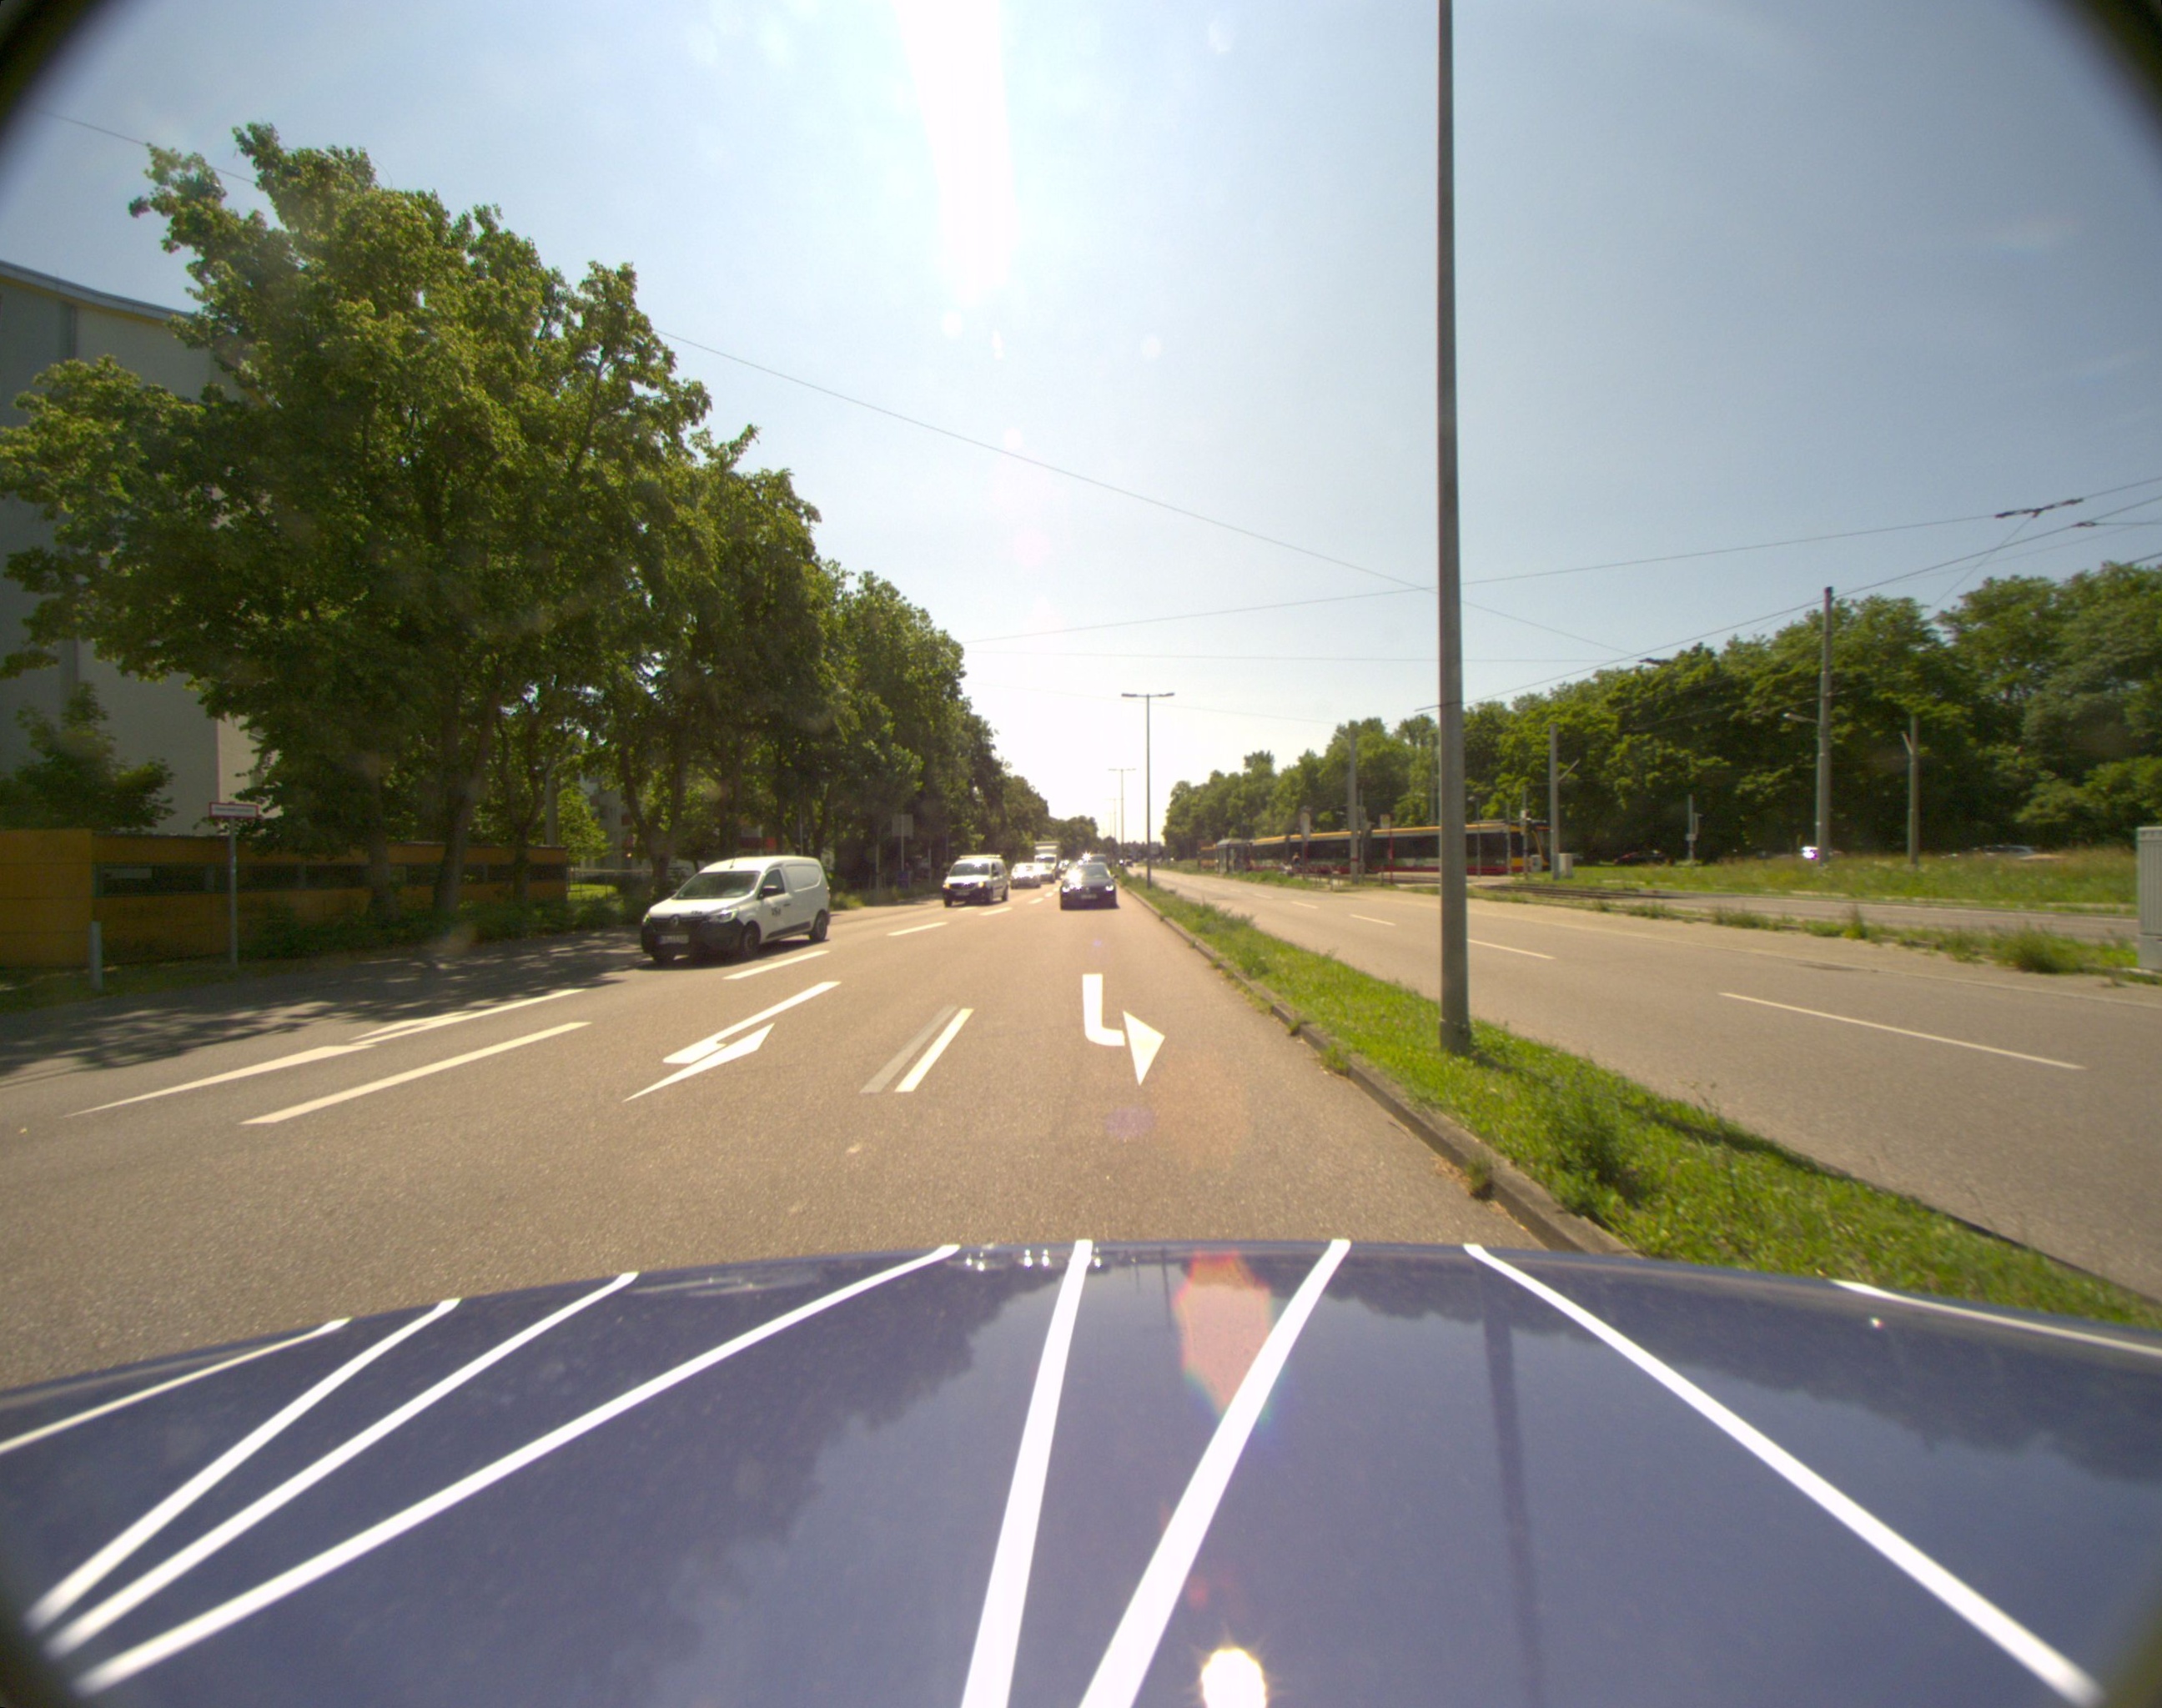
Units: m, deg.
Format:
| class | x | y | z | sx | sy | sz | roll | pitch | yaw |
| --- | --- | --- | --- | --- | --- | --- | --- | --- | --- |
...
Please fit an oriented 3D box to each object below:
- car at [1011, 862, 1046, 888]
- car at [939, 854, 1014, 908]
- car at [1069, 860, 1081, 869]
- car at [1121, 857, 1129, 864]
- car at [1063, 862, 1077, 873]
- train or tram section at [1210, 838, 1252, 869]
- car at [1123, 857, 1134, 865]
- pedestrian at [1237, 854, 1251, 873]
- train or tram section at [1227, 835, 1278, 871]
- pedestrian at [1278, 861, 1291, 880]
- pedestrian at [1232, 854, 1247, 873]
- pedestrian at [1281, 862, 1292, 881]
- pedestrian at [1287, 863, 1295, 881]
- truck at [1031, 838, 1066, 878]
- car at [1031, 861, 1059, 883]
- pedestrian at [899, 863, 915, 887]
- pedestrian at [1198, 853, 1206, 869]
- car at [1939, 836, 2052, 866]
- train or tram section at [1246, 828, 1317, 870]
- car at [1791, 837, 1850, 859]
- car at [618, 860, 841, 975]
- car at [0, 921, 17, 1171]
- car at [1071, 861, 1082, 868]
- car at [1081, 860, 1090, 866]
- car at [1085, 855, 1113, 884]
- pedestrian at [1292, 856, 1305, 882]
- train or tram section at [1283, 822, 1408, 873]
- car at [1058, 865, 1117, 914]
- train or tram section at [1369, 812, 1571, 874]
| class | x | y | z | sx | sy | sz | roll | pitch | yaw |
| --- | --- | --- | --- | --- | --- | --- | --- | --- | --- |
| car | -3.121 | 1.223 | 45.688 | 1.626 | 1.432 | 3.499 | -2 | 0 | 3 |
| car | -3.973 | 0.986 | 29.816 | 1.809 | 1.844 | 5.084 | -3 | 0 | 4 |
| car | -0.901 | 1.643 | 120.907 | 1.746 | 1.382 | 3.888 | -1 | 0 | 2 |
| car | 10.052 | 1.434 | 175.096 | 1.773 | 1.496 | 3.721 | -1 | 0 | 3 |
| car | -1.413 | 1.715 | 98.142 | 1.618 | 1.373 | 4.115 | -2 | 0 | 2 |
| train or tram section | 19.782 | 0.008 | 100.847 | 3.051 | 3.719 | 12.596 | -3 | 0 | 1 |
| car | 9.407 | 1.355 | 150.567 | 1.774 | 1.496 | 3.719 | -1 | 0 | -1 |
| pedestrian | 13.347 | 0.802 | 62.188 | 0.836 | 1.499 | 0.879 | -3 | 0 | -1 |
| train or tram section | 19.616 | -0.046 | 87.801 | 3.051 | 3.745 | 13.263 | -3 | 0 | 1 |
| pedestrian | 12.771 | 1.047 | 47.692 | 0.582 | 1.182 | 0.536 | -3 | 0 | -1 |
| pedestrian | 13.164 | 0.807 | 63.144 | 0.933 | 1.537 | 0.985 | -3 | 0 | -1 |
| pedestrian | 12.768 | 1.088 | 47.216 | 0.495 | 1.182 | 0.400 | -3 | 0 | -1 |
| pedestrian | 12.958 | 1.116 | 46.854 | 0.384 | 1.052 | 0.377 | -3 | 0 | -1 |
| truck | -2.847 | 0.351 | 68.072 | 2.489 | 3.276 | 6.606 | -1 | 0 | 3 |
| car | -2.529 | 1.242 | 54.038 | 1.618 | 1.373 | 4.114 | -2 | 1 | 2 |
| pedestrian | -10.707 | 1.286 | 46.801 | 0.710 | 1.390 | 0.763 | -3 | 0 | 2 |
| pedestrian | 13.518 | 0.779 | 84.894 | 0.633 | 1.780 | 0.776 | -3 | 0 | -1 |
| car | 56.609 | -0.169 | 47.141 | 2.001 | 1.717 | 3.994 | -3 | 0 | -18 |
| train or tram section | 19.289 | -0.424 | 74.282 | 3.051 | 3.603 | 13.897 | -3 | 0 | 0 |
| car | 59.238 | -0.454 | 60.932 | 1.389 | 1.586 | 3.069 | -3 | 0 | -12 |
| car | -6.314 | 1.032 | 14.317 | 1.713 | 1.737 | 4.429 | -3 | 0 | 6 |
| car | -7.360 | 1.174 | 2.657 | 1.724 | 1.479 | 3.878 | -3 | 0 | 1 |
| car | -0.913 | 2.134 | 157.631 | 1.745 | 1.382 | 3.889 | -1 | 0 | 5 |
| car | 1.069 | 2.138 | 186.968 | 1.745 | 1.382 | 3.889 | -1 | 0 | 5 |
| car | 1.217 | 0.996 | 51.005 | 1.746 | 1.840 | 3.888 | -1 | 0 | 2 |
| pedestrian | 13.286 | 0.888 | 46.367 | 0.536 | 1.556 | 0.582 | -3 | 0 | -1 |
| train or tram section | 20.944 | -0.366 | 61.558 | 3.055 | 3.603 | 12.437 | -3 | 0 | -14 |
| car | 0.260 | 1.092 | 24.664 | 1.746 | 1.382 | 3.888 | 0 | 0 | 2 |
| train or tram section | 25.272 | -0.528 | 50.606 | 3.057 | 3.603 | 12.427 | -3 | 0 | -27 |
